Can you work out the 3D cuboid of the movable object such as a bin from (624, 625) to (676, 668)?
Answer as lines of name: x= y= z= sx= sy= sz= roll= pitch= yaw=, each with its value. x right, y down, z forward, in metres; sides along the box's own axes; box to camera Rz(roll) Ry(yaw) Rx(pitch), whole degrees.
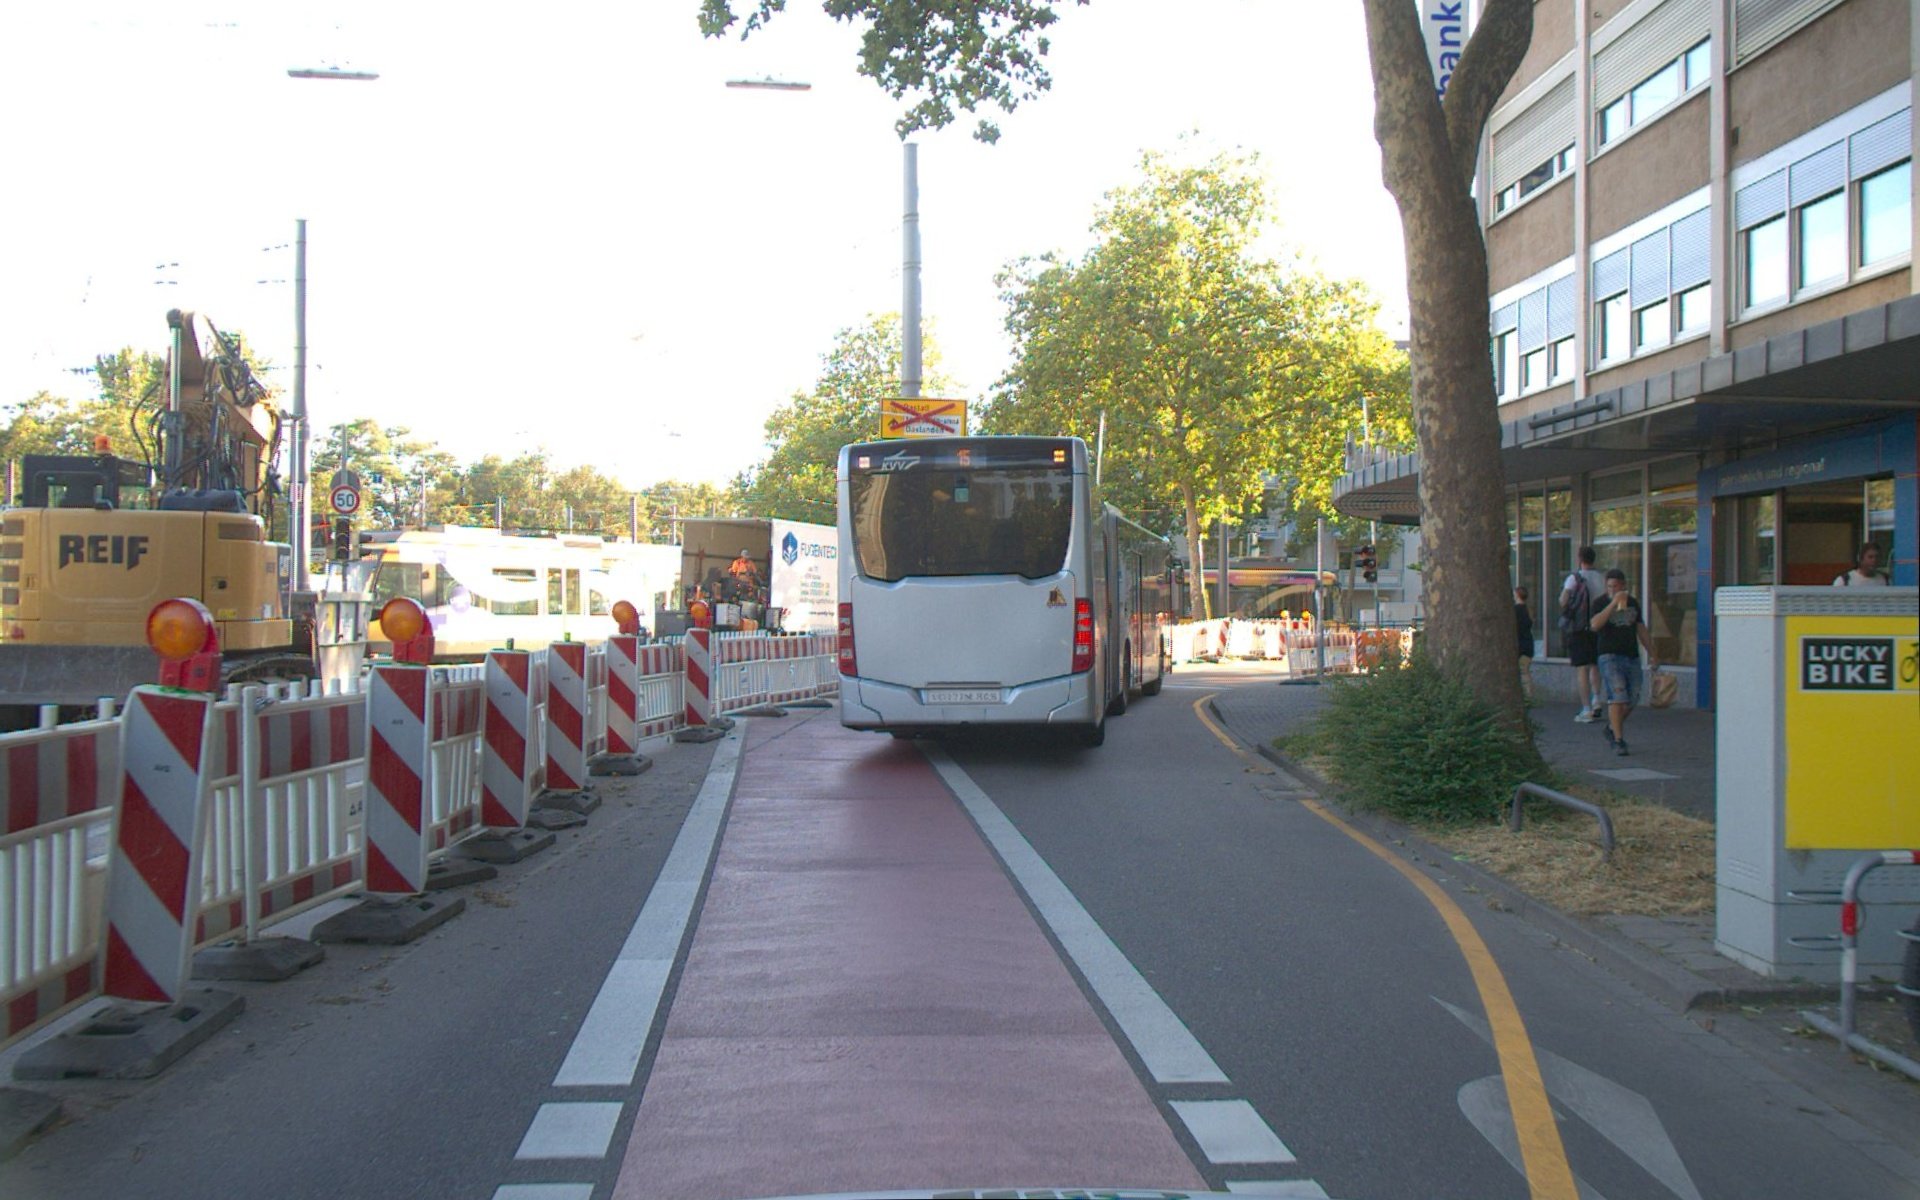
movable object such as a bin: x=-6.886 y=1.019 z=36.818 sx=0.914 sy=0.933 sz=1.419 roll=0 pitch=-1 yaw=-1

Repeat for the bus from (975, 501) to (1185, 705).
bus: x=2.458 y=0.060 z=30.239 sx=2.650 sy=3.161 sz=8.987 roll=0 pitch=0 yaw=12

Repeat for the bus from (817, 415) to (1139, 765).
bus: x=0.729 y=-0.100 z=20.606 sx=2.675 sy=3.194 sz=10.711 roll=1 pitch=0 yaw=8

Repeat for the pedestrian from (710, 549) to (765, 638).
pedestrian: x=-5.182 y=-0.155 z=38.590 sx=0.917 sy=2.049 sz=1.001 roll=0 pitch=1 yaw=21

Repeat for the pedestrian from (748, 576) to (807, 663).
pedestrian: x=-3.923 y=0.415 z=35.633 sx=0.952 sy=1.829 sz=1.070 roll=1 pitch=0 yaw=13

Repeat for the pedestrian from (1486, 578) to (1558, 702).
pedestrian: x=7.500 y=0.523 z=22.102 sx=0.620 sy=1.601 sz=0.774 roll=-2 pitch=0 yaw=-4

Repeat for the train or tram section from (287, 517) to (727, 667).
train or tram section: x=-11.945 y=-0.076 z=45.956 sx=2.799 sy=3.595 sz=13.358 roll=0 pitch=-1 yaw=33

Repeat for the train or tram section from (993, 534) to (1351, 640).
train or tram section: x=7.825 y=-0.378 z=60.405 sx=13.077 sy=3.581 sz=2.637 roll=1 pitch=-1 yaw=-17

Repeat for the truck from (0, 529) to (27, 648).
truck: x=-35.477 y=-0.401 z=52.258 sx=10.303 sy=3.856 sz=2.868 roll=1 pitch=-1 yaw=-33

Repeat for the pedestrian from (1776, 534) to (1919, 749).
pedestrian: x=7.786 y=0.331 z=14.195 sx=0.881 sy=1.726 sz=1.070 roll=-4 pitch=0 yaw=-4

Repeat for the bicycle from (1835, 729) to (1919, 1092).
bicycle: x=3.900 y=0.950 z=5.174 sx=1.949 sy=1.077 sz=0.769 roll=-1 pitch=-1 yaw=-7

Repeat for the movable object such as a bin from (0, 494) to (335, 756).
movable object such as a bin: x=-8.487 y=0.229 z=17.403 sx=2.594 sy=2.358 sz=4.891 roll=1 pitch=0 yaw=-9

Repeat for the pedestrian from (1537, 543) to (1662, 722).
pedestrian: x=7.217 y=0.356 z=18.725 sx=0.821 sy=1.902 sz=1.099 roll=-4 pitch=0 yaw=-4

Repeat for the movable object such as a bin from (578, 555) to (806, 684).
movable object such as a bin: x=-5.157 y=0.364 z=32.678 sx=1.953 sy=2.296 sz=5.206 roll=2 pitch=0 yaw=23

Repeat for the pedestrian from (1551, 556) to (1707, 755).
pedestrian: x=6.235 y=0.498 z=15.473 sx=0.881 sy=1.740 sz=1.070 roll=-3 pitch=0 yaw=-4

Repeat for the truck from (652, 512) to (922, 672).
truck: x=-4.102 y=-0.160 z=41.945 sx=2.755 sy=3.603 sz=8.979 roll=0 pitch=0 yaw=23

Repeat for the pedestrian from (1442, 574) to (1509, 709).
pedestrian: x=6.834 y=0.545 z=21.960 sx=0.571 sy=1.738 sz=0.679 roll=-3 pitch=0 yaw=-4
